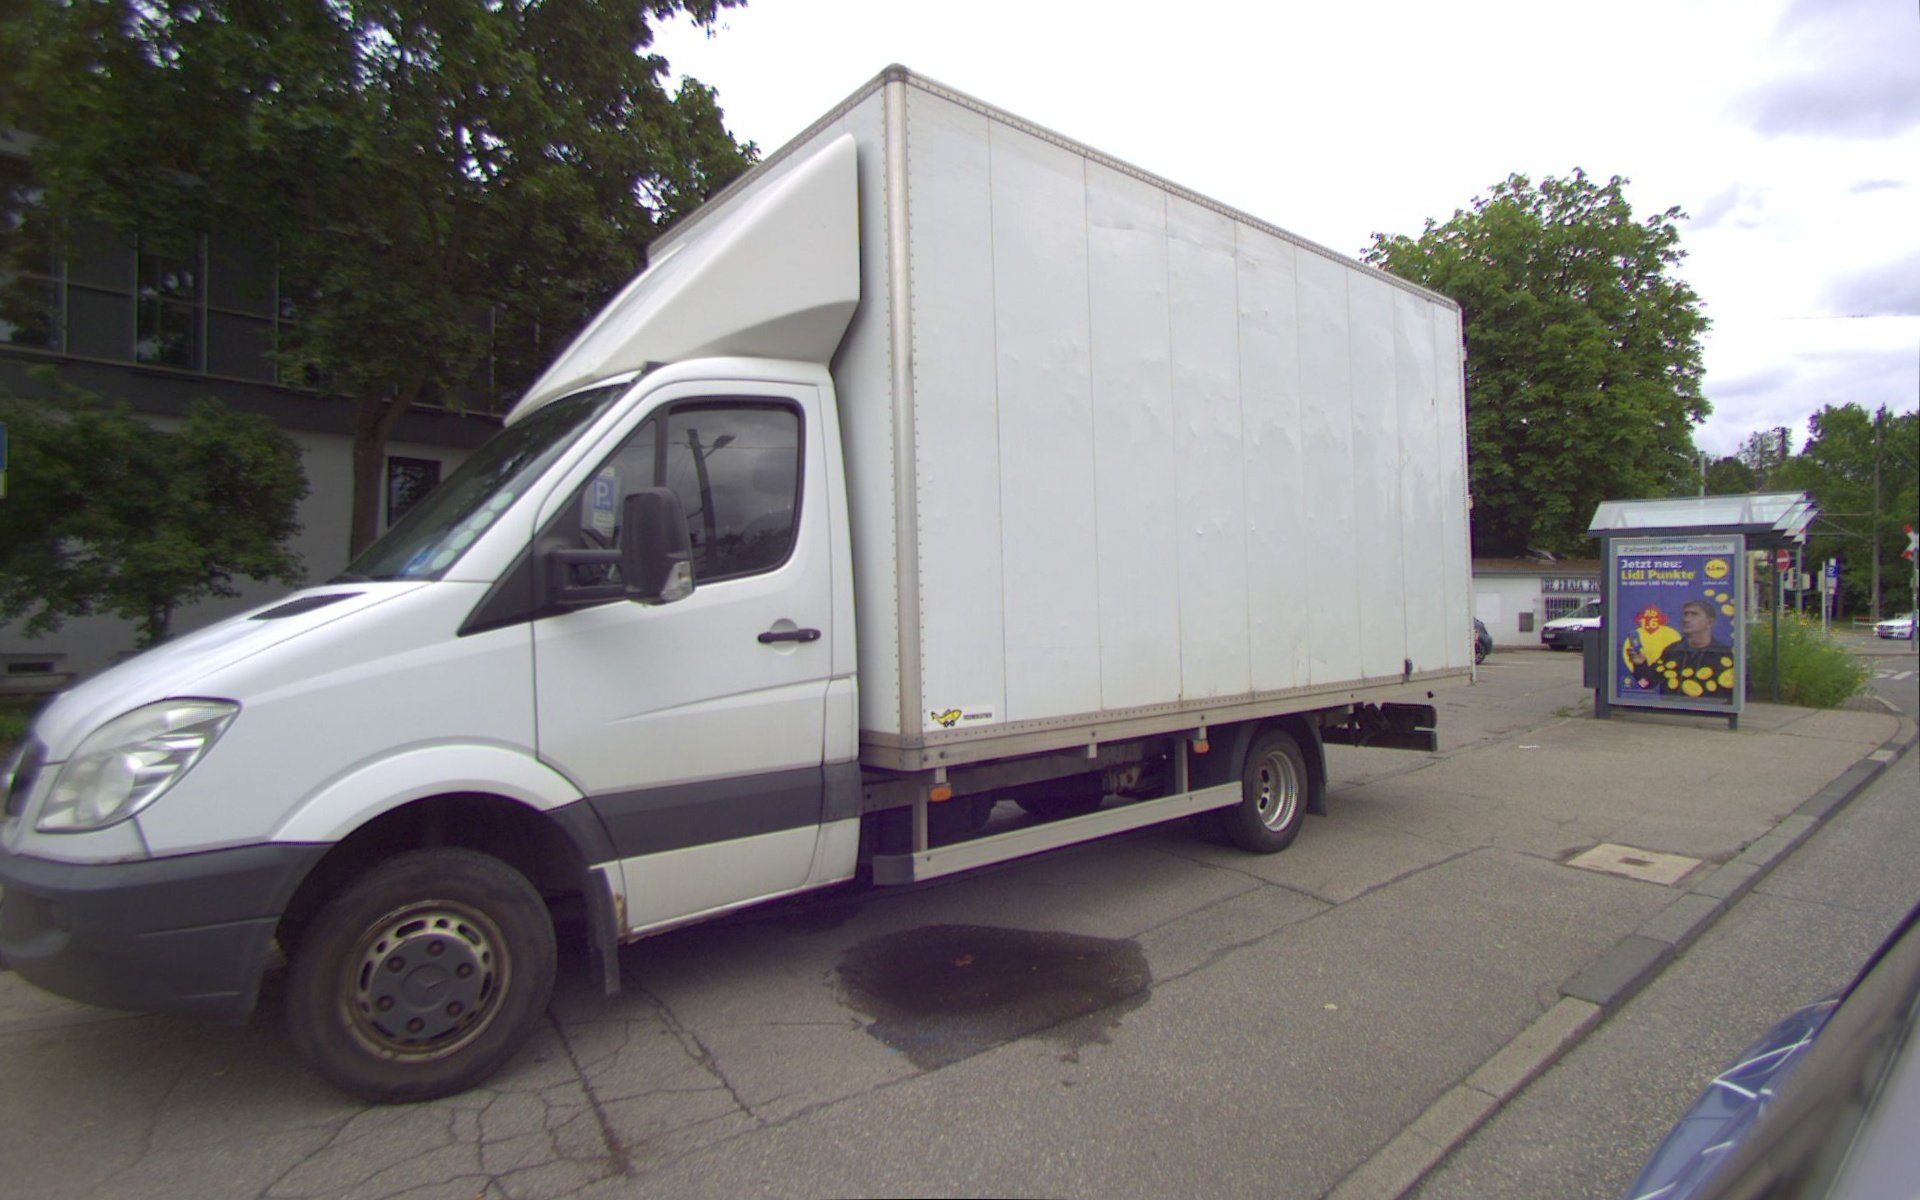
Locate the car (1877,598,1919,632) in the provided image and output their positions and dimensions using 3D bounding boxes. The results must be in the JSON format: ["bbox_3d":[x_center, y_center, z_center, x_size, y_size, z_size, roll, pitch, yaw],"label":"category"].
[{"bbox_3d":[47.251,0.729,48.631,4.569,1.556,1.915,1,0,1],"label":"car"}]

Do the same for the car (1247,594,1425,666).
[{"bbox_3d":[8.034,0.626,21.863,3.470,1.396,1.538,1,-1,18],"label":"car"}]

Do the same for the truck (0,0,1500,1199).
[{"bbox_3d":[0.018,-0.419,5.502,7.673,3.570,2.578,0,0,-41],"label":"truck"}]

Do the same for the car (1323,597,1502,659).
[{"bbox_3d":[11.441,0.668,25.876,3.945,1.496,1.870,0,0,17],"label":"car"}]

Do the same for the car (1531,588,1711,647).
[{"bbox_3d":[21.060,0.555,32.344,4.602,1.771,1.853,1,0,-4],"label":"car"}]
